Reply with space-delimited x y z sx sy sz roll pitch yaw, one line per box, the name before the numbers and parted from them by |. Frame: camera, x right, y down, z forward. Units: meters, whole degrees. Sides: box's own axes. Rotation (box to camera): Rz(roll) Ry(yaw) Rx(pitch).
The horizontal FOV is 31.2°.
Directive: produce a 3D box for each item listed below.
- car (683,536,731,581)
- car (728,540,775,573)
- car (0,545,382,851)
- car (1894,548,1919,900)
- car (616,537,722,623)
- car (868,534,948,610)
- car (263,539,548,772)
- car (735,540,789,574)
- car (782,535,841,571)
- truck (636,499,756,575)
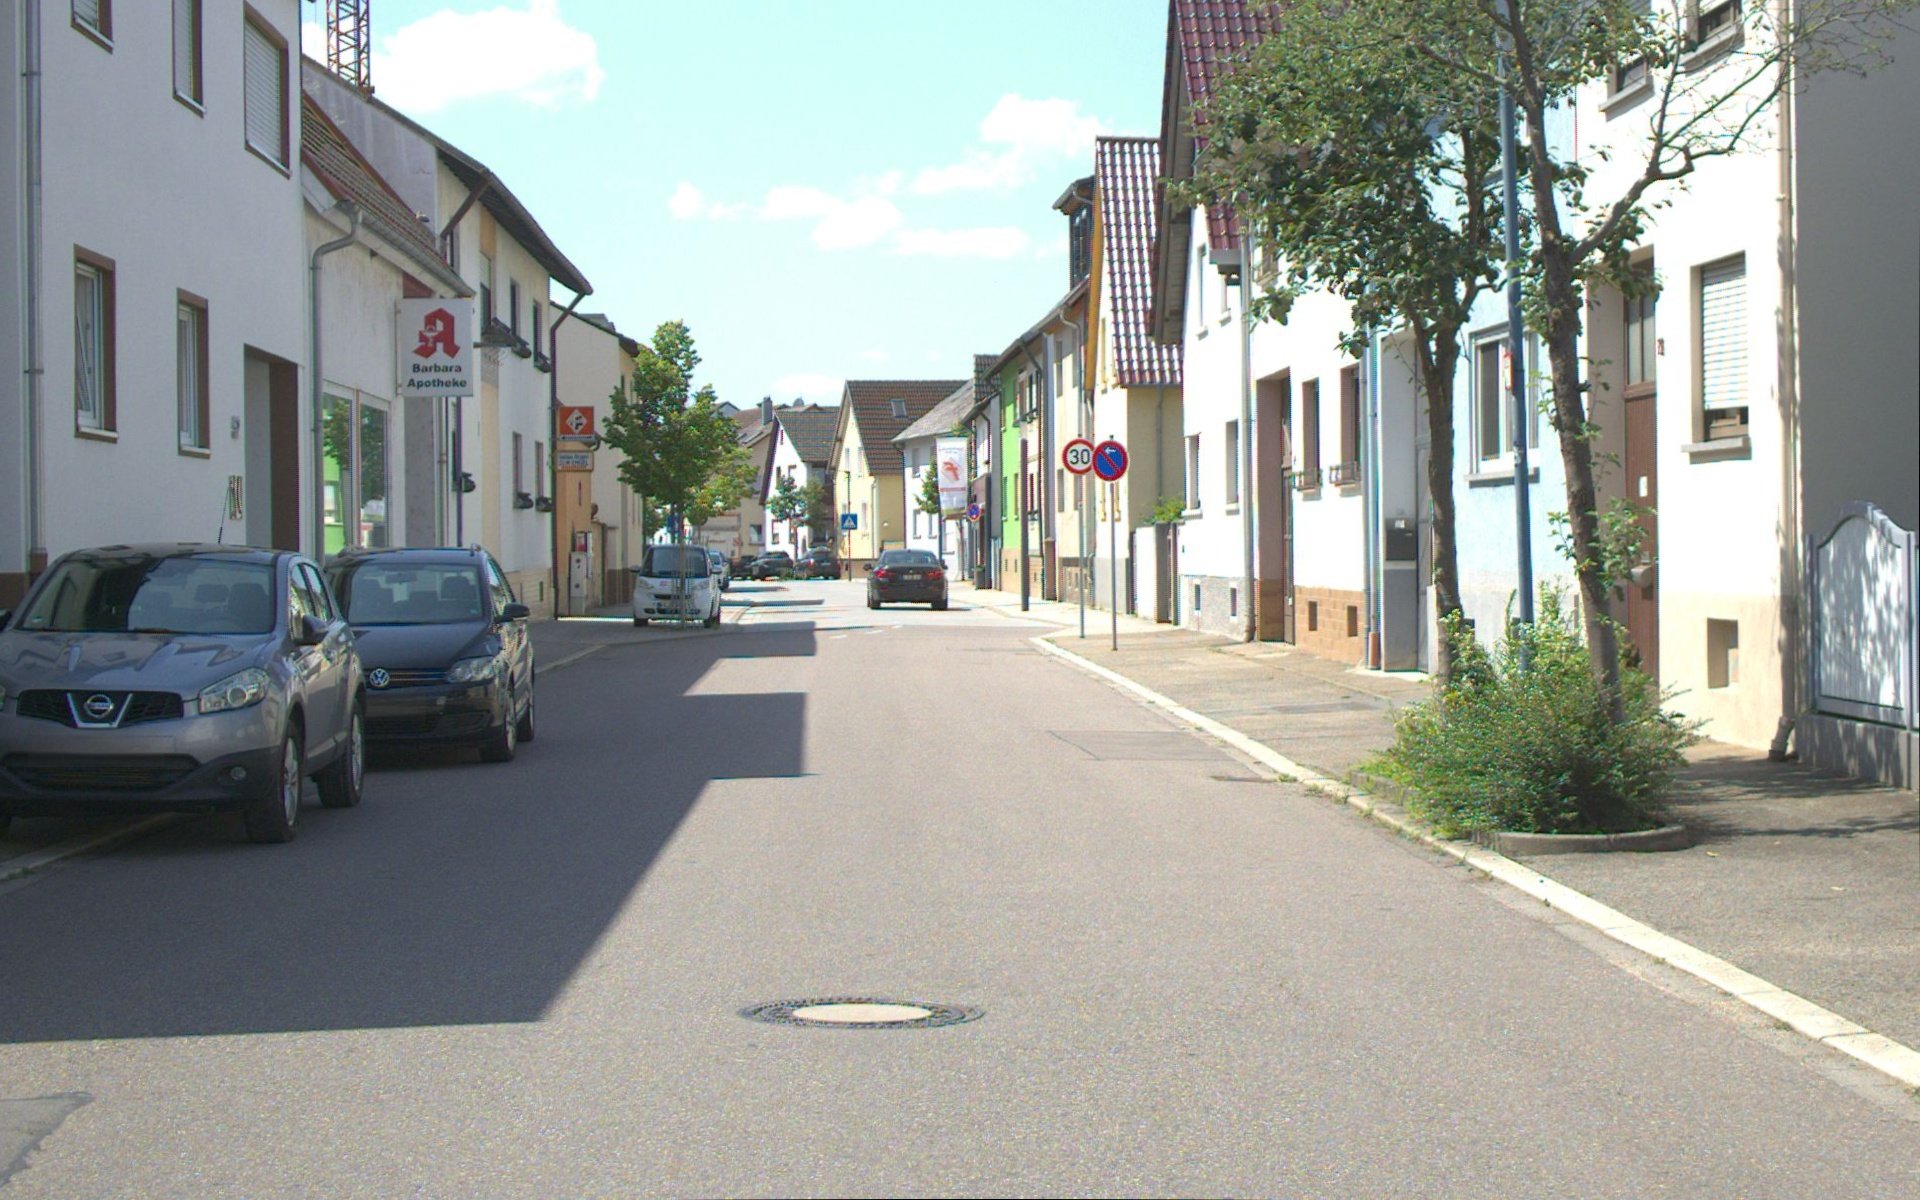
car | -9.889 -1.625 134.295 1.734 1.681 4.233 1 1 -6
car | -11.505 -2.408 189.556 1.820 1.747 4.230 -1 1 -14
car | -4.460 0.466 19.594 1.758 1.519 4.290 -1 1 -2
car | 5.812 0.486 13.270 3.922 1.410 1.740 -1 1 -1
car | -5.509 -0.405 65.504 1.723 1.550 4.172 1 1 -1
car | -1.287 -0.688 83.648 1.782 1.747 4.001 -1 1 -3
car | -4.130 0.353 26.126 1.653 1.603 4.061 -1 1 -2
car | -10.483 -2.282 181.776 1.820 1.747 4.230 -1 1 -18
car | -7.451 -2.355 172.242 1.782 1.747 4.230 -1 1 -18
truck | -14.175 -3.306 183.476 3.378 3.852 13.930 -1 1 -17
